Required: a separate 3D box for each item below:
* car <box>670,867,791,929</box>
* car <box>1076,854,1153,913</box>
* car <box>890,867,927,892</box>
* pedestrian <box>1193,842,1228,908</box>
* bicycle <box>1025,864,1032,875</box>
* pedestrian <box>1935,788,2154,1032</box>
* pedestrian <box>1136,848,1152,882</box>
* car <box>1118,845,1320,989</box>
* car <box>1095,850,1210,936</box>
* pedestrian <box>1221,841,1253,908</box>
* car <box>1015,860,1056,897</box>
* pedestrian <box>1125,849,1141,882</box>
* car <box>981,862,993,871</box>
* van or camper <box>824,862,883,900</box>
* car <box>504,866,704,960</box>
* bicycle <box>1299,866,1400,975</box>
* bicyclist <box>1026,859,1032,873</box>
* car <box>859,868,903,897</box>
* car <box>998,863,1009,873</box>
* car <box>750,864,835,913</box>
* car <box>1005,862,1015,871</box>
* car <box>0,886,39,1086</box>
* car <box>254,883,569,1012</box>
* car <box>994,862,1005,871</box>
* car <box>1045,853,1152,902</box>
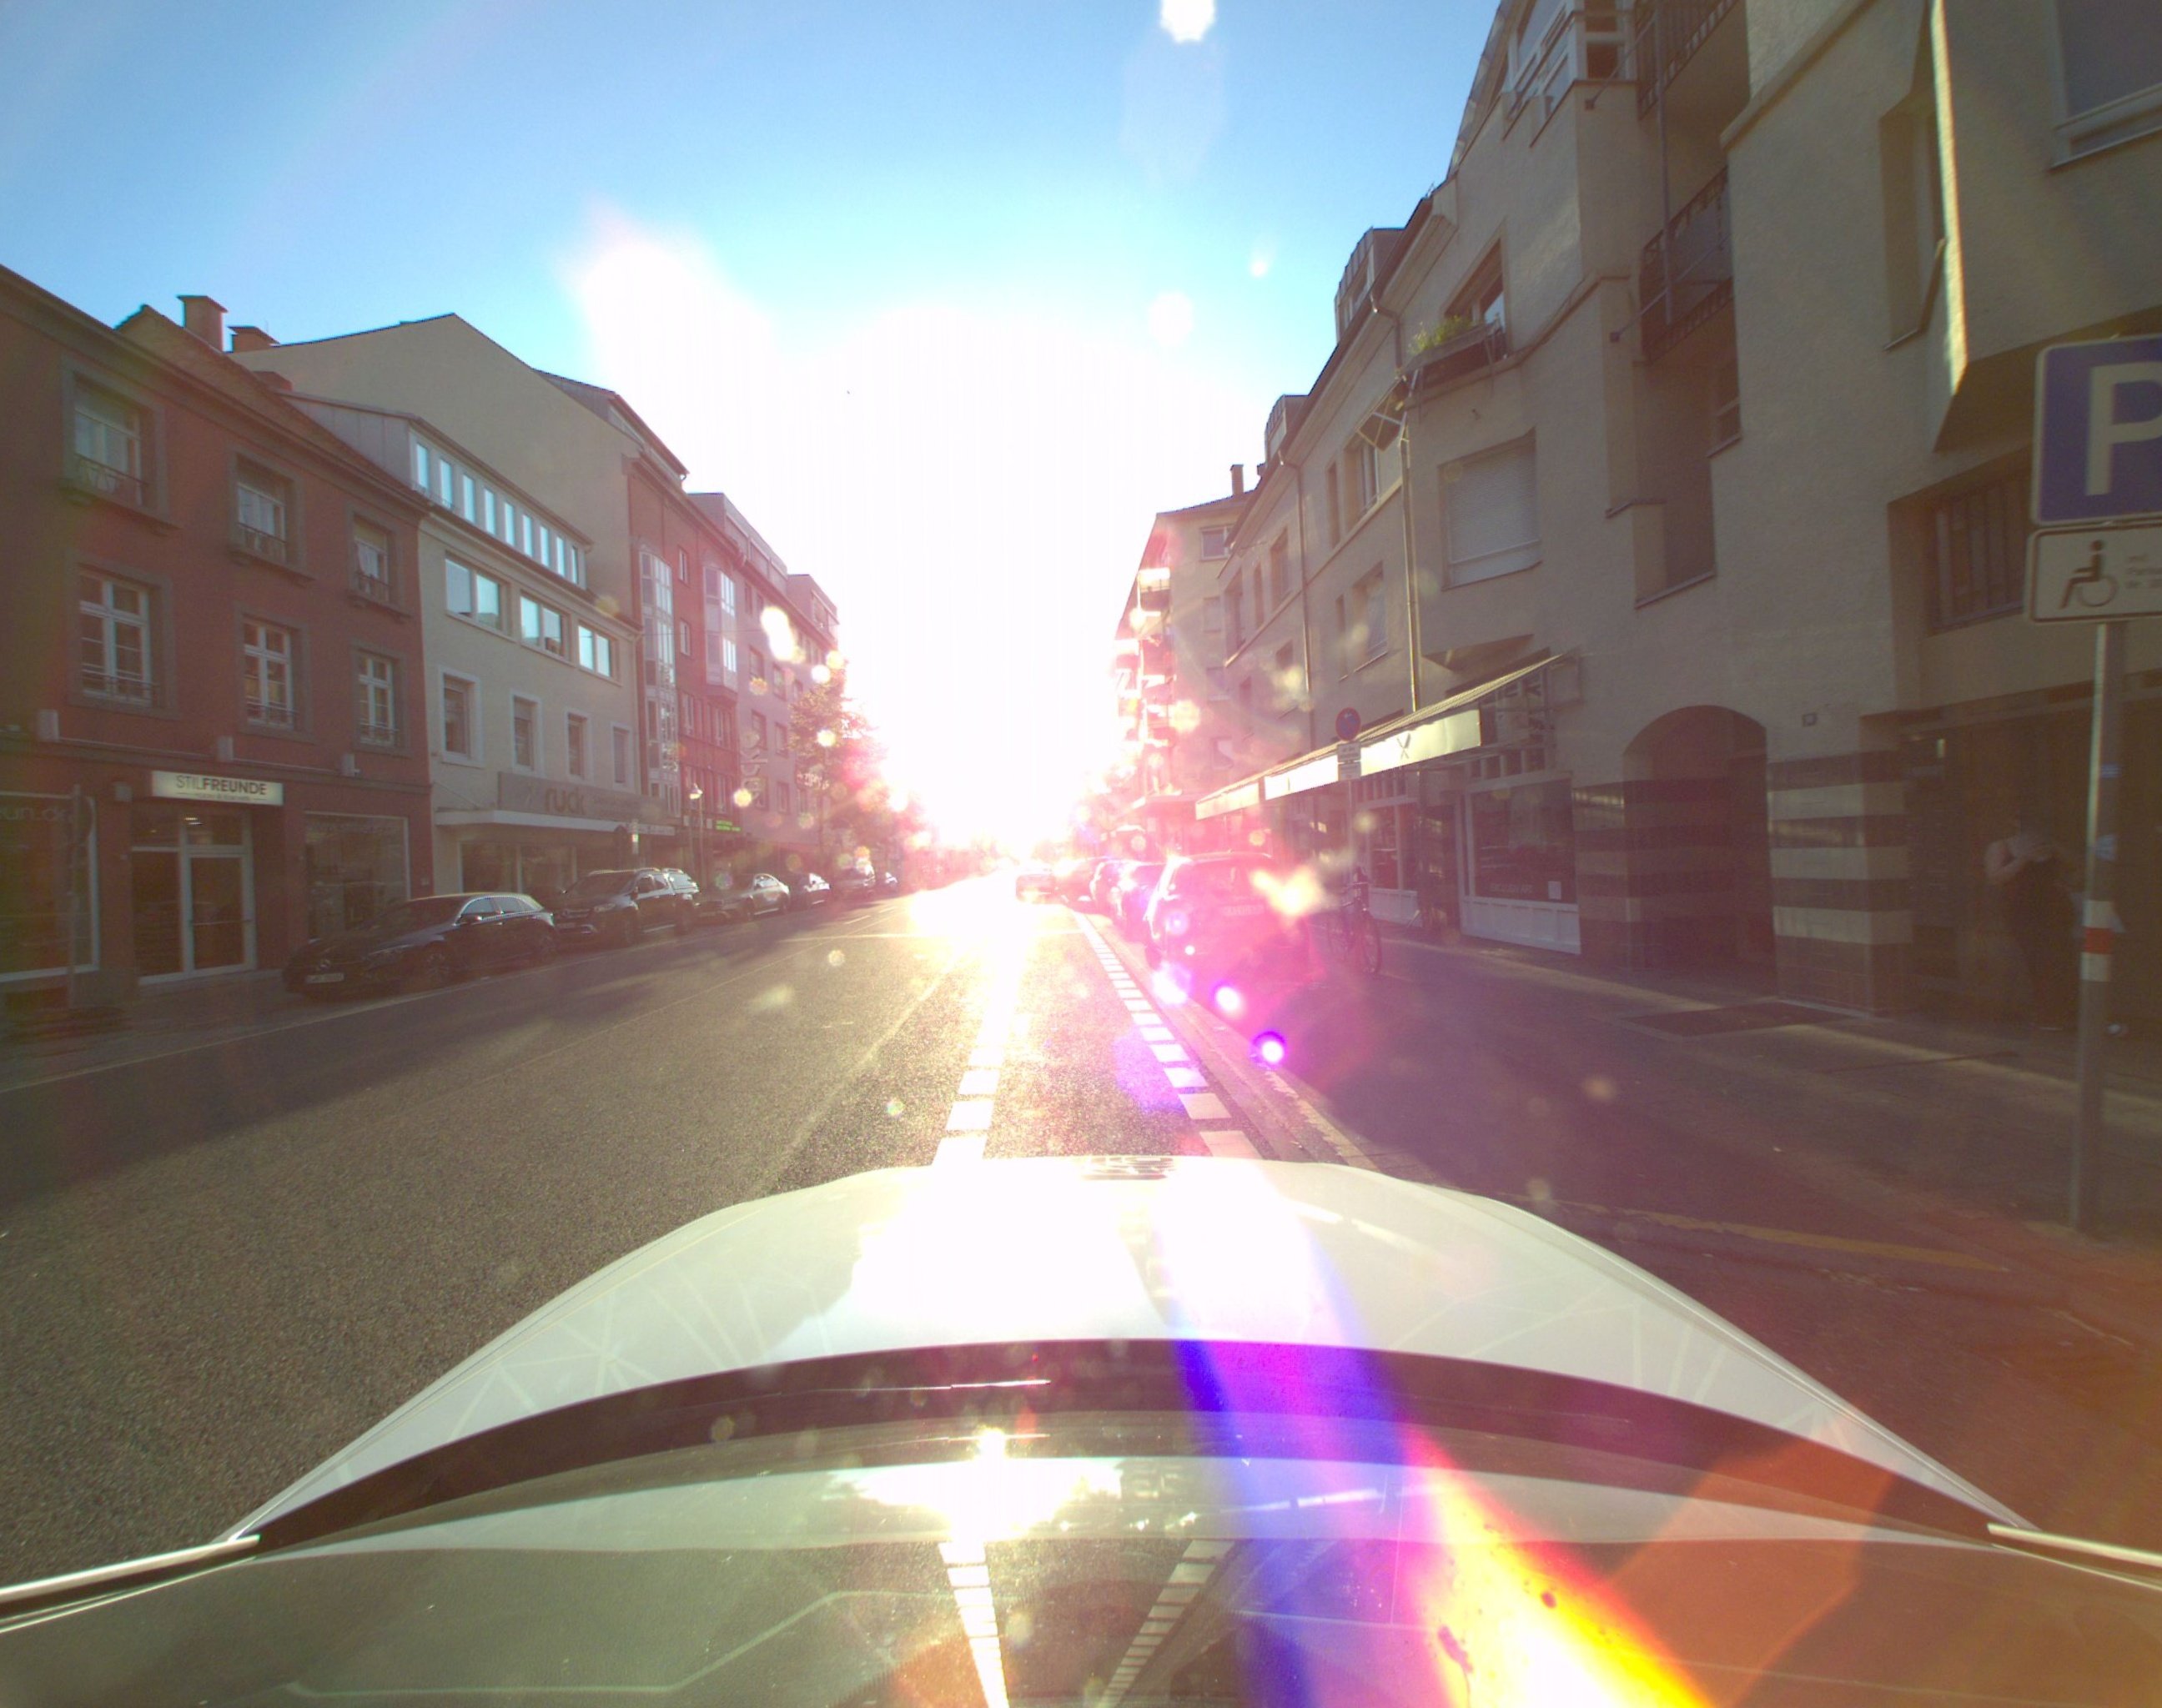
[{"bbox_3d":[-11.189,1.325,26.425,1.989,1.655,4.623,-4,0,-3],"label":"car"},{"bbox_3d":[0.926,0.839,24.725,1.786,1.580,3.780,-2,0,-5],"label":"car"},{"bbox_3d":[-11.194,1.631,53.036,1.685,1.502,3.784,-2,0,-2],"label":"car"},{"bbox_3d":[3.449,0.551,21.767,0.629,1.700,1.039,-3,0,-4],"label":"pedestrian"},{"bbox_3d":[-6.087,1.810,94.482,0.661,1.243,2.129,-1,0,0],"label":"bicycle"},{"bbox_3d":[6.615,0.372,5.637,0.769,1.572,0.537,-3,0,24],"label":"pedestrian"},{"bbox_3d":[3.413,0.573,44.170,0.716,1.791,0.666,-3,0,-3],"label":"pedestrian"},{"bbox_3d":[1.703,0.731,11.433,1.786,1.580,3.959,-2,0,-5],"label":"car"},{"bbox_3d":[1.422,0.764,17.694,1.786,1.580,3.780,-2,0,-5],"label":"car"},{"bbox_3d":[4.121,0.540,21.557,0.558,1.700,0.830,-3,0,-4],"label":"pedestrian"},{"bbox_3d":[-1.987,1.040,36.082,1.685,1.503,3.784,-1,0,-2],"label":"car"},{"bbox_3d":[2.943,0.648,45.950,0.716,1.791,0.666,-3,0,-3],"label":"pedestrian"},{"bbox_3d":[-16.219,2.170,141.065,1.685,1.502,3.784,-2,0,-2],"label":"car"},{"bbox_3d":[-11.682,1.342,42.144,1.783,1.774,4.555,-2,0,-2],"label":"van or camper"},{"bbox_3d":[-11.176,1.268,19.665,1.991,1.777,5.309,-4,0,-5],"label":"car"},{"bbox_3d":[3.339,0.776,10.318,0.556,1.206,1.977,-2,0,-1],"label":"bicycle"},{"bbox_3d":[-6.040,1.338,94.402,0.545,1.580,0.803,-3,0,0],"label":"bicyclist"},{"bbox_3d":[-11.696,1.658,47.857,1.685,1.502,3.784,-2,0,-2],"label":"car"},{"bbox_3d":[-13.422,2.443,141.429,1.685,1.502,3.784,-2,0,-2],"label":"car"},{"bbox_3d":[-11.363,1.303,32.380,1.990,1.655,4.473,-3,0,-4],"label":"car"},{"bbox_3d":[-12.956,2.196,148.767,1.685,1.502,3.784,-2,0,-2],"label":"car"},{"bbox_3d":[-10.044,1.194,4.923,1.791,1.698,4.454,-5,0,-4],"label":"car"},{"bbox_3d":[-10.699,1.374,13.541,1.682,1.488,4.404,-5,0,-4],"label":"car"},{"bbox_3d":[-14.869,2.322,148.053,1.685,1.502,3.784,-2,0,-2],"label":"car"},{"bbox_3d":[0.746,0.848,31.247,1.855,1.697,4.349,-1,0,38],"label":"car"}]
